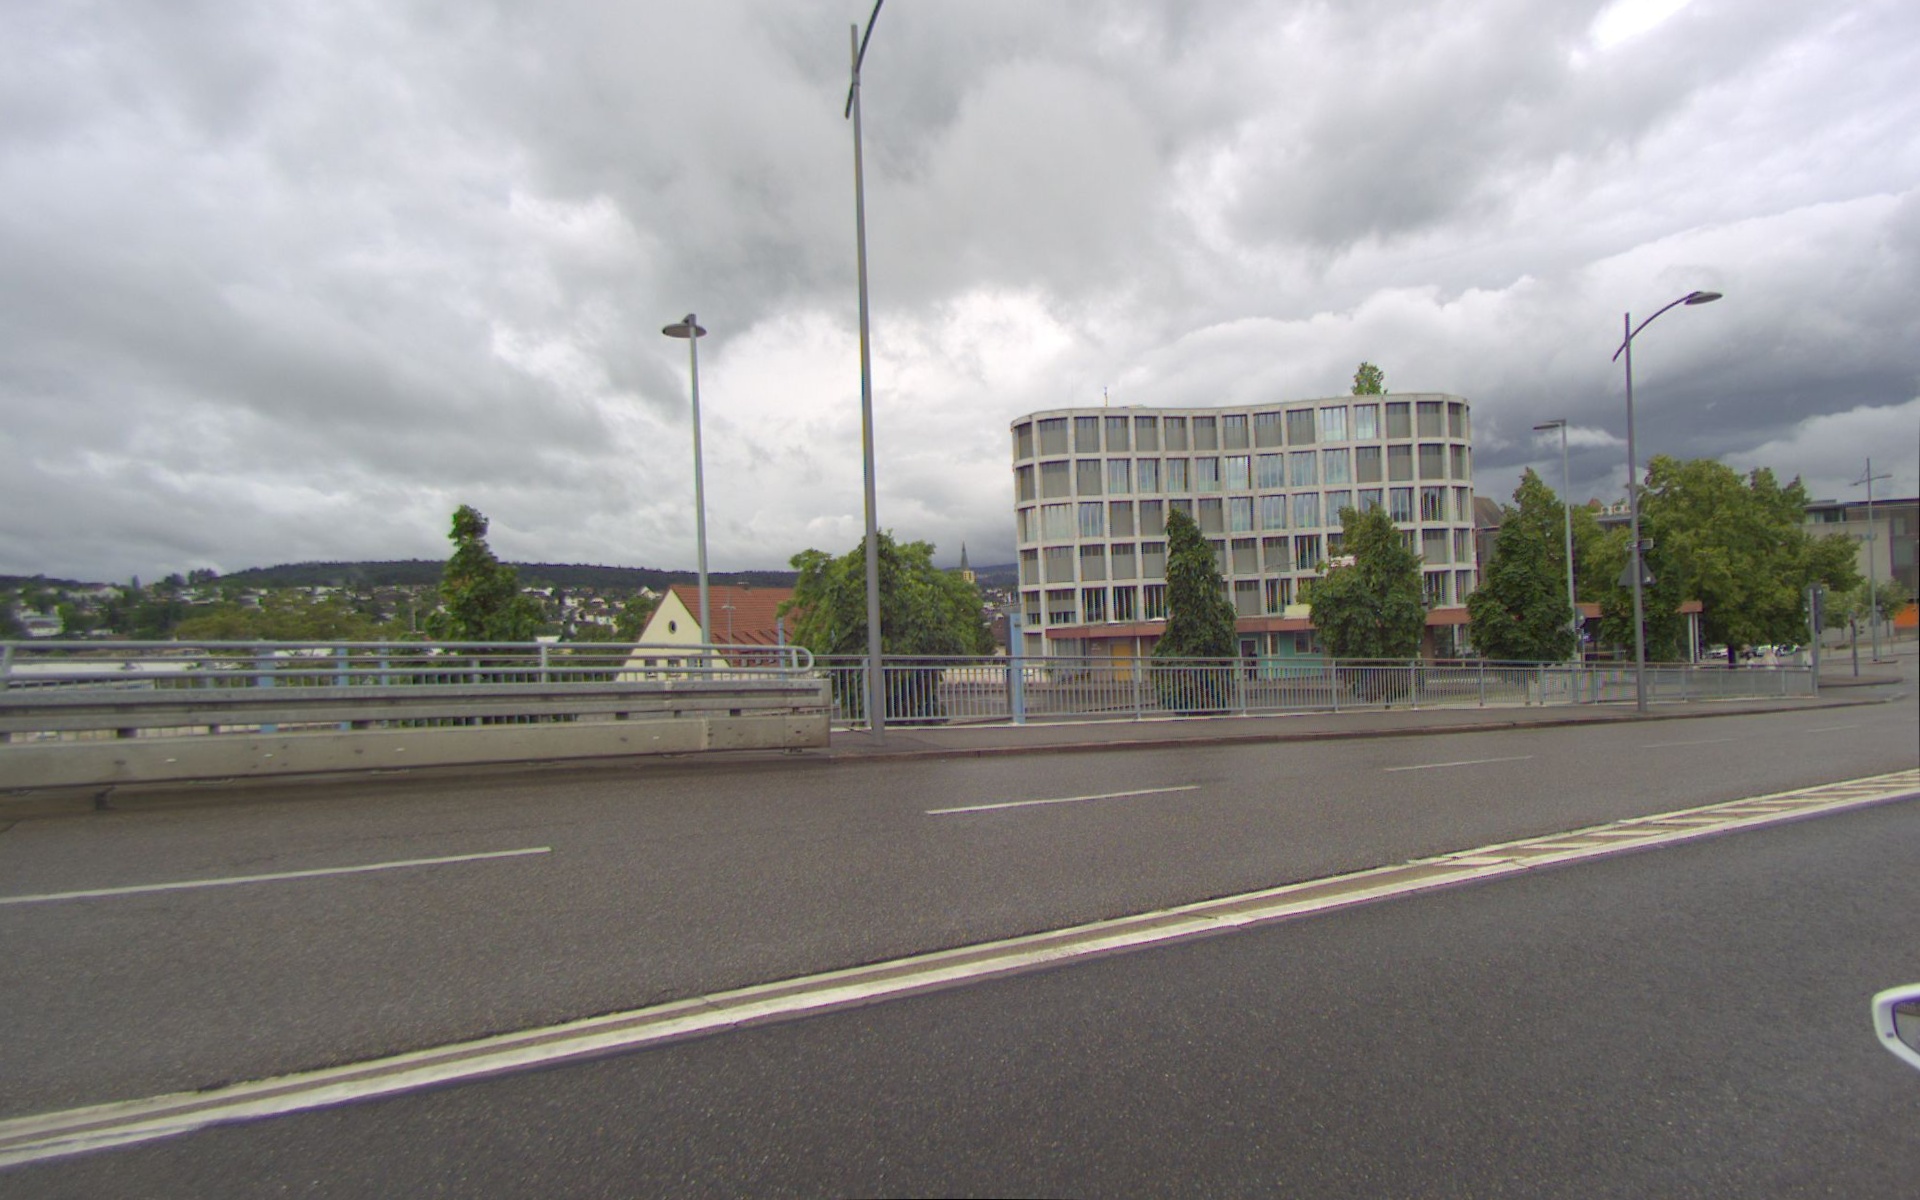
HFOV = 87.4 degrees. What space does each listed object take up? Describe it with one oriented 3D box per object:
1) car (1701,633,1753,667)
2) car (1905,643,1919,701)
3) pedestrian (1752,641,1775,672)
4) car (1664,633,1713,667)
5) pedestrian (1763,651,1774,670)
[{"bbox_3d":[54.589,3.548,71.578,1.962,2.041,3.997,3,3,23],"label":"car"},{"bbox_3d":[35.820,2.567,36.165,3.964,2.040,1.979,1,-3,-37],"label":"car"},{"bbox_3d":[38.312,2.701,47.885,0.524,1.427,0.646,-1,-1,-27],"label":"pedestrian"},{"bbox_3d":[52.592,3.594,72.601,1.962,2.041,3.997,3,3,23],"label":"car"},{"bbox_3d":[38.460,2.855,47.781,0.294,0.885,0.300,-1,-1,-27],"label":"pedestrian"}]
